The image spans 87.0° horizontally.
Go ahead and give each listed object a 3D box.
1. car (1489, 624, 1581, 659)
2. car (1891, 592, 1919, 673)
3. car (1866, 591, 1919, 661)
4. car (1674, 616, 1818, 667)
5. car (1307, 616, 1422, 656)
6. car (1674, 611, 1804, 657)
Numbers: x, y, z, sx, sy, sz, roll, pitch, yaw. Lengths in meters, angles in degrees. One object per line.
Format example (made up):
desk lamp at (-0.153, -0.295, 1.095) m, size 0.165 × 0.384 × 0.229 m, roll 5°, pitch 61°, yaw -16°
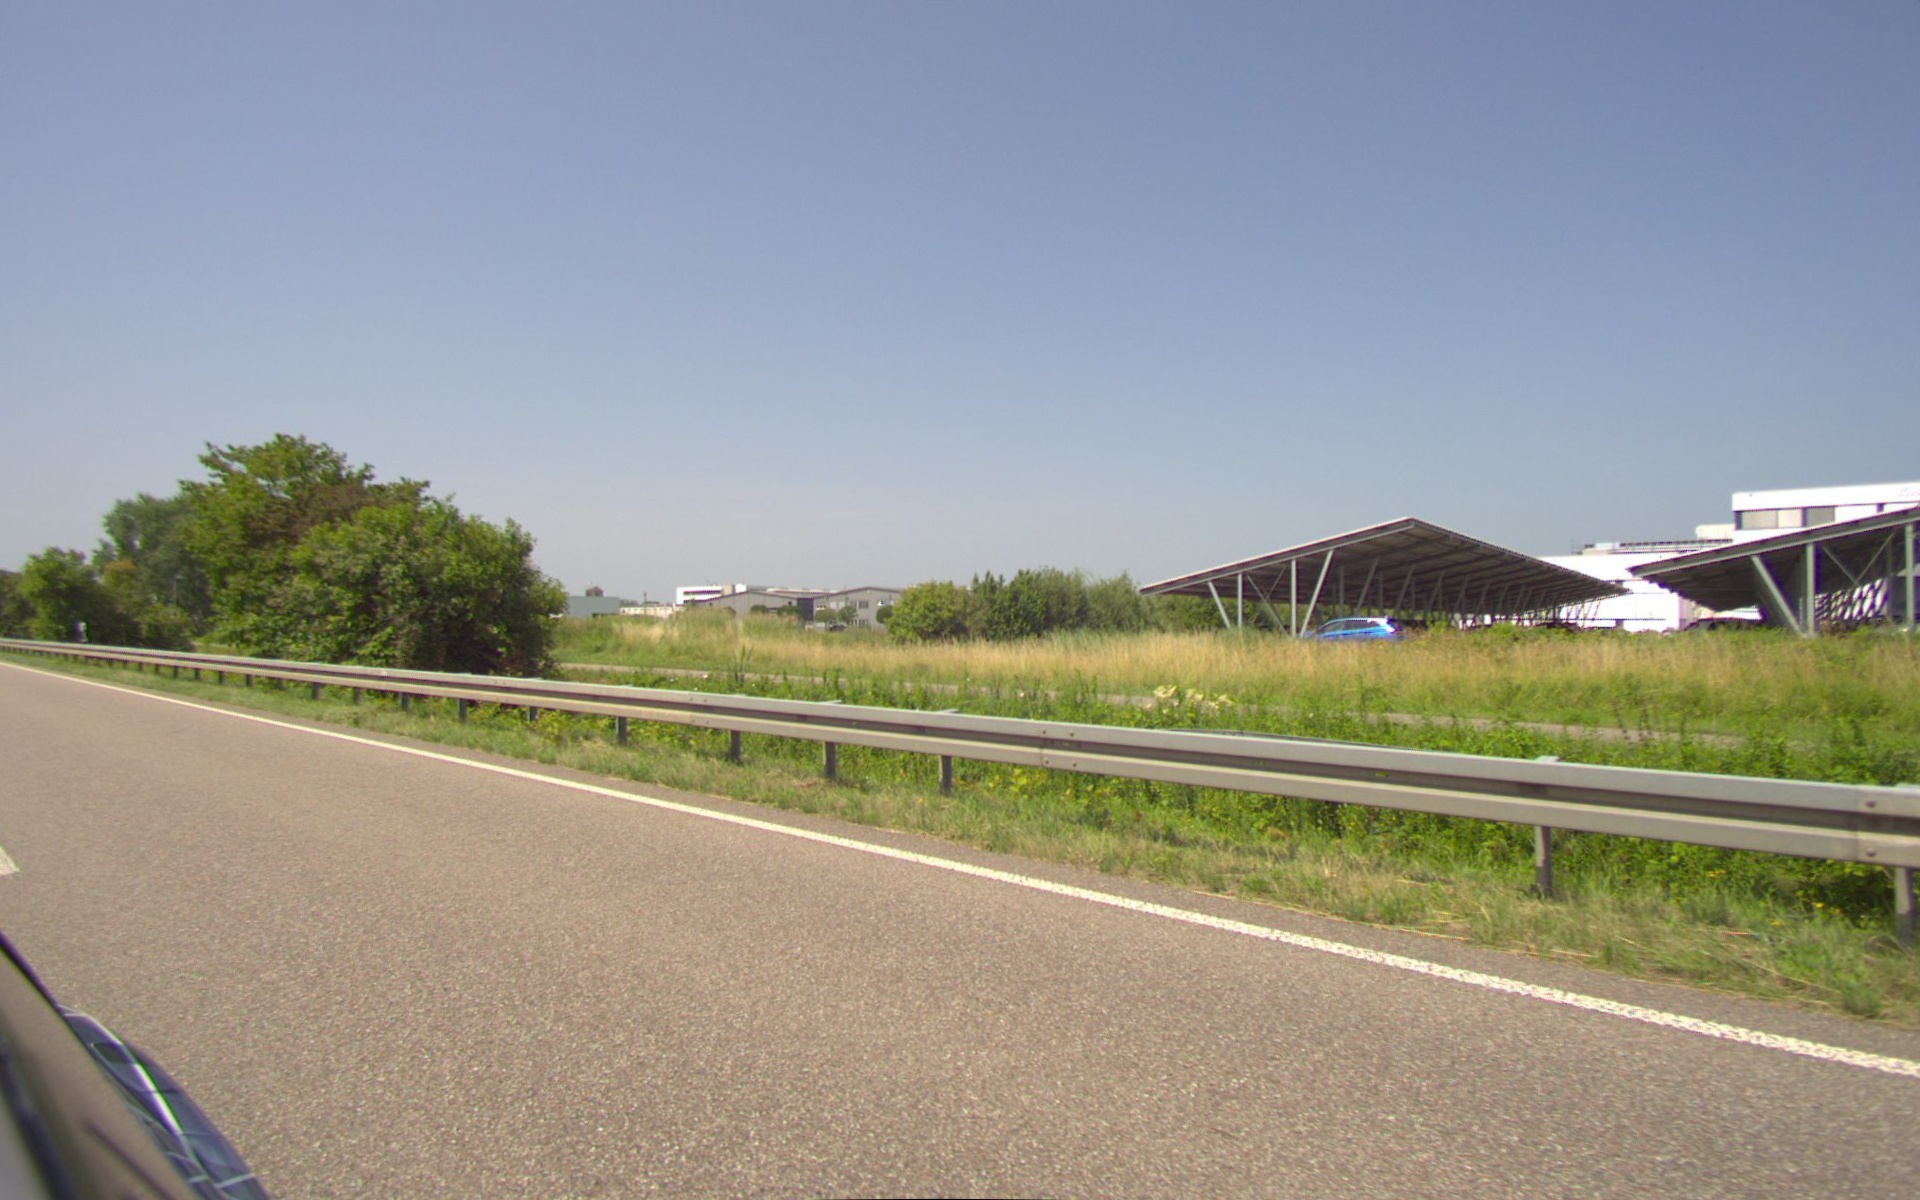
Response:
car at (32.136, 2.284, 56.575) m, size 4.254 × 1.818 × 1.975 m, roll -1°, pitch -1°, yaw 37°
car at (26.160, 0.799, 25.031) m, size 4.515 × 2.029 × 1.972 m, roll -1°, pitch -2°, yaw 42°
car at (29.389, 0.754, 29.405) m, size 4.515 × 2.029 × 1.972 m, roll -1°, pitch -2°, yaw 42°
car at (30.141, 1.550, 38.876) m, size 4.260 × 1.818 × 1.973 m, roll -2°, pitch -1°, yaw 41°
car at (13.949, 1.235, 34.965) m, size 3.360 × 1.301 × 1.603 m, roll -1°, pitch -2°, yaw 38°
car at (33.108, 1.425, 43.066) m, size 4.260 × 1.818 × 1.973 m, roll -2°, pitch -1°, yaw 41°
